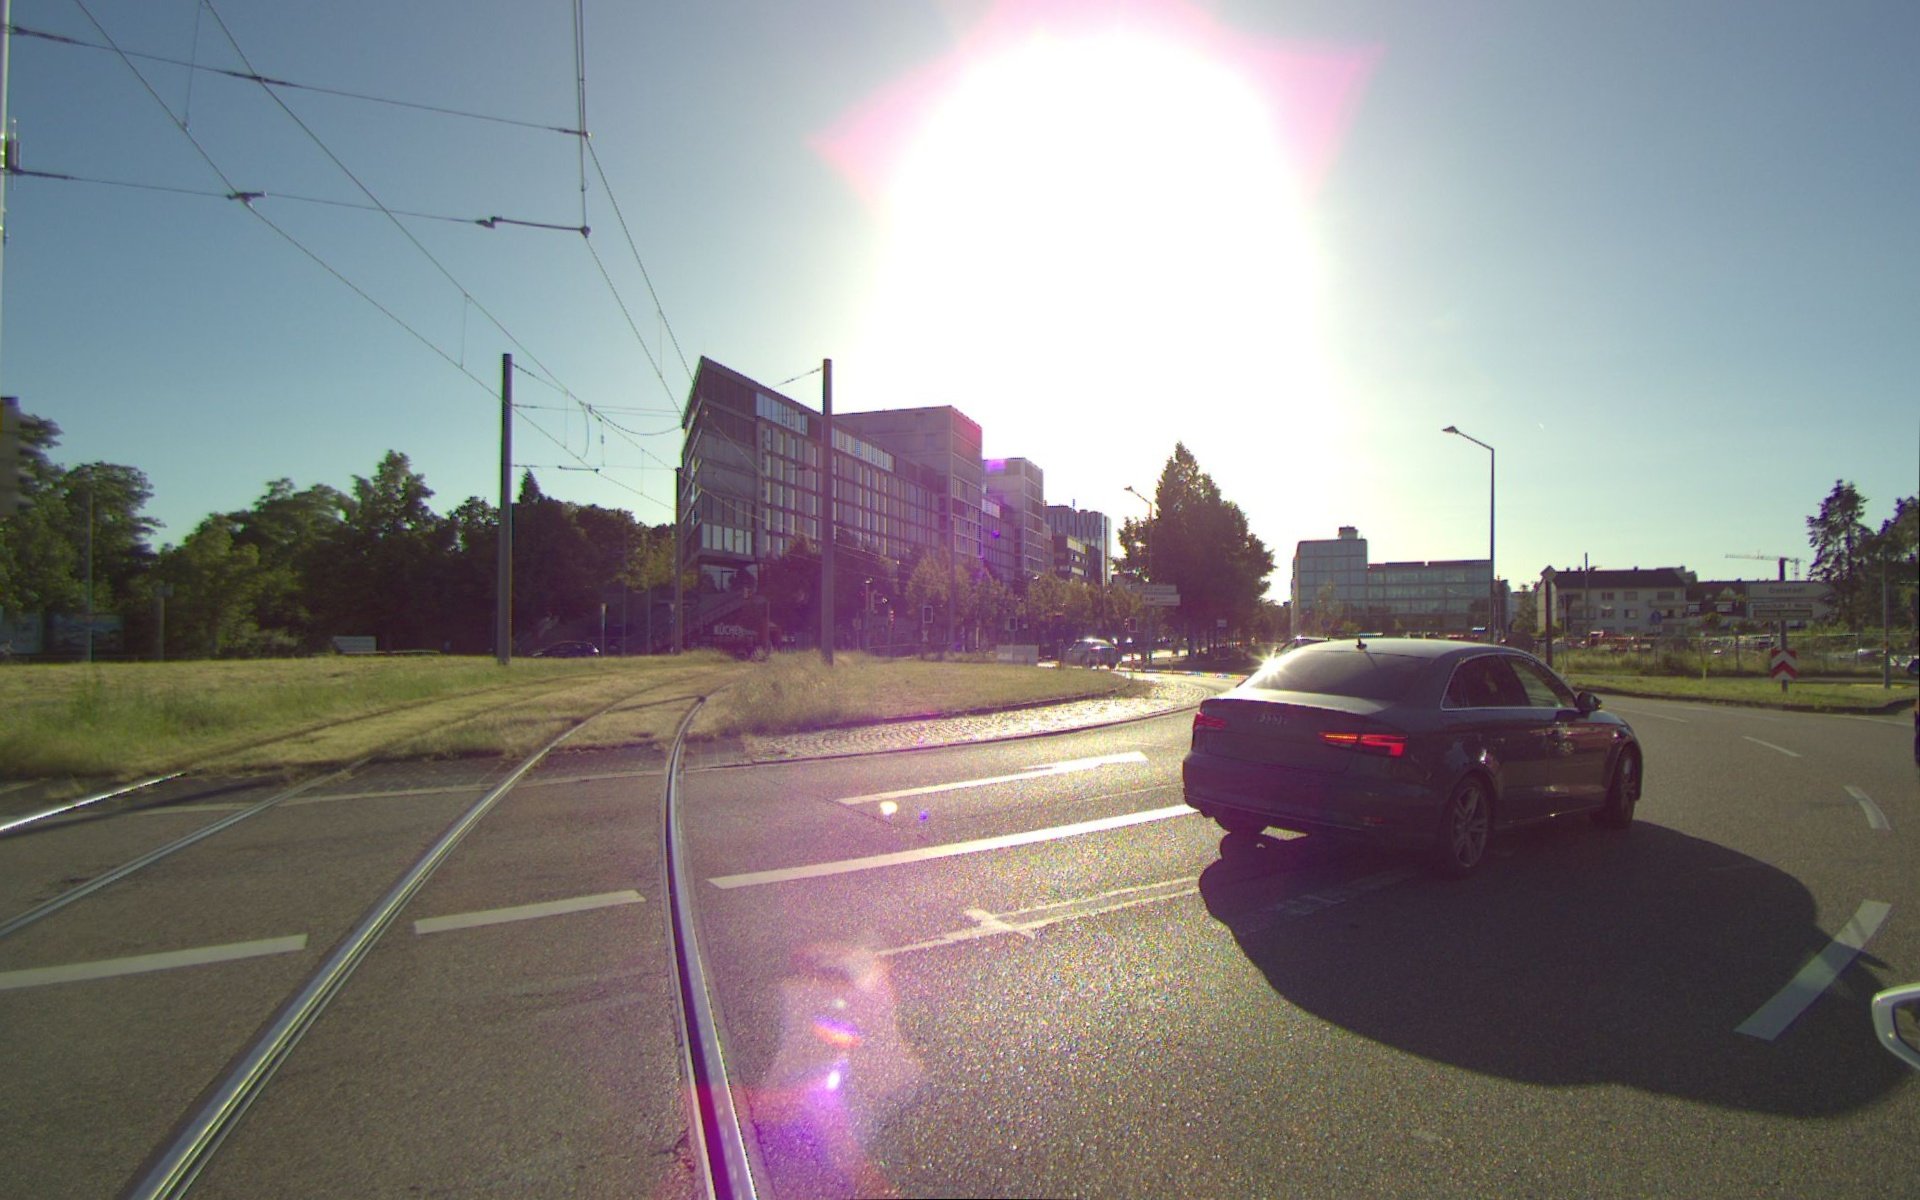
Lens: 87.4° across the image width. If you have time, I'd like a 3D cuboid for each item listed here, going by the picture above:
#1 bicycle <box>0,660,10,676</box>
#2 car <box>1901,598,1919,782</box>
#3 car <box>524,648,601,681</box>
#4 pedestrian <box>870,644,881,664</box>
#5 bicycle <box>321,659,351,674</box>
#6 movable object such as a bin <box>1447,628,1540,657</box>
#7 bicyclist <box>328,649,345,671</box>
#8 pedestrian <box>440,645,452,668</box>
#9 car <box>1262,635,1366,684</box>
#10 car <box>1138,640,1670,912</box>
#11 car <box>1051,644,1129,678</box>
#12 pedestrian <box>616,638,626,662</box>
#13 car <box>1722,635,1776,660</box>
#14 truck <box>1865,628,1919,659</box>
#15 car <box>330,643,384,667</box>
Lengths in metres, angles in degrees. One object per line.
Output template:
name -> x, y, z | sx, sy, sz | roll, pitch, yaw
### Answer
bicycle -> -52.774, 3.720, 54.357 | 0.607, 0.864, 1.883 | -2, -2, 34
car -> 9.738, 0.869, 8.746 | 1.779, 1.837, 3.796 | -1, -2, 36
car -> -23.527, 3.790, 59.482 | 3.884, 1.808, 1.756 | 1, -2, -39
pedestrian -> -6.286, 4.029, 74.662 | 0.545, 1.485, 0.678 | 0, -2, 15
bicycle -> -42.616, 4.546, 68.581 | 0.575, 1.025, 1.872 | 0, -3, 12
movable object such as a bin -> 53.135, 4.225, 100.280 | 7.778, 2.819, 2.943 | -1, -2, 21
bicyclist -> -42.602, 4.088, 68.600 | 0.575, 1.487, 0.757 | 0, -2, 12
pedestrian -> -37.028, 4.044, 72.352 | 0.752, 1.651, 0.879 | 0, -2, -29
car -> 11.808, 1.957, 33.796 | 1.775, 1.481, 3.805 | 1, -1, -7
car -> 3.412, 1.008, 7.340 | 4.320, 1.398, 1.747 | 2, -2, -38
car -> 6.529, 3.066, 50.949 | 1.971, 1.596, 4.385 | 0, -2, -23
pedestrian -> -29.240, 4.283, 86.635 | 0.821, 2.040, 0.637 | 1, -2, -20
car -> 67.935, 4.064, 86.532 | 1.959, 2.040, 4.502 | 1, -1, 14
truck -> 66.233, 3.037, 70.252 | 2.129, 2.040, 6.436 | 1, -1, 21
car -> -49.785, 4.528, 82.965 | 3.696, 1.829, 1.826 | 0, -2, -28
